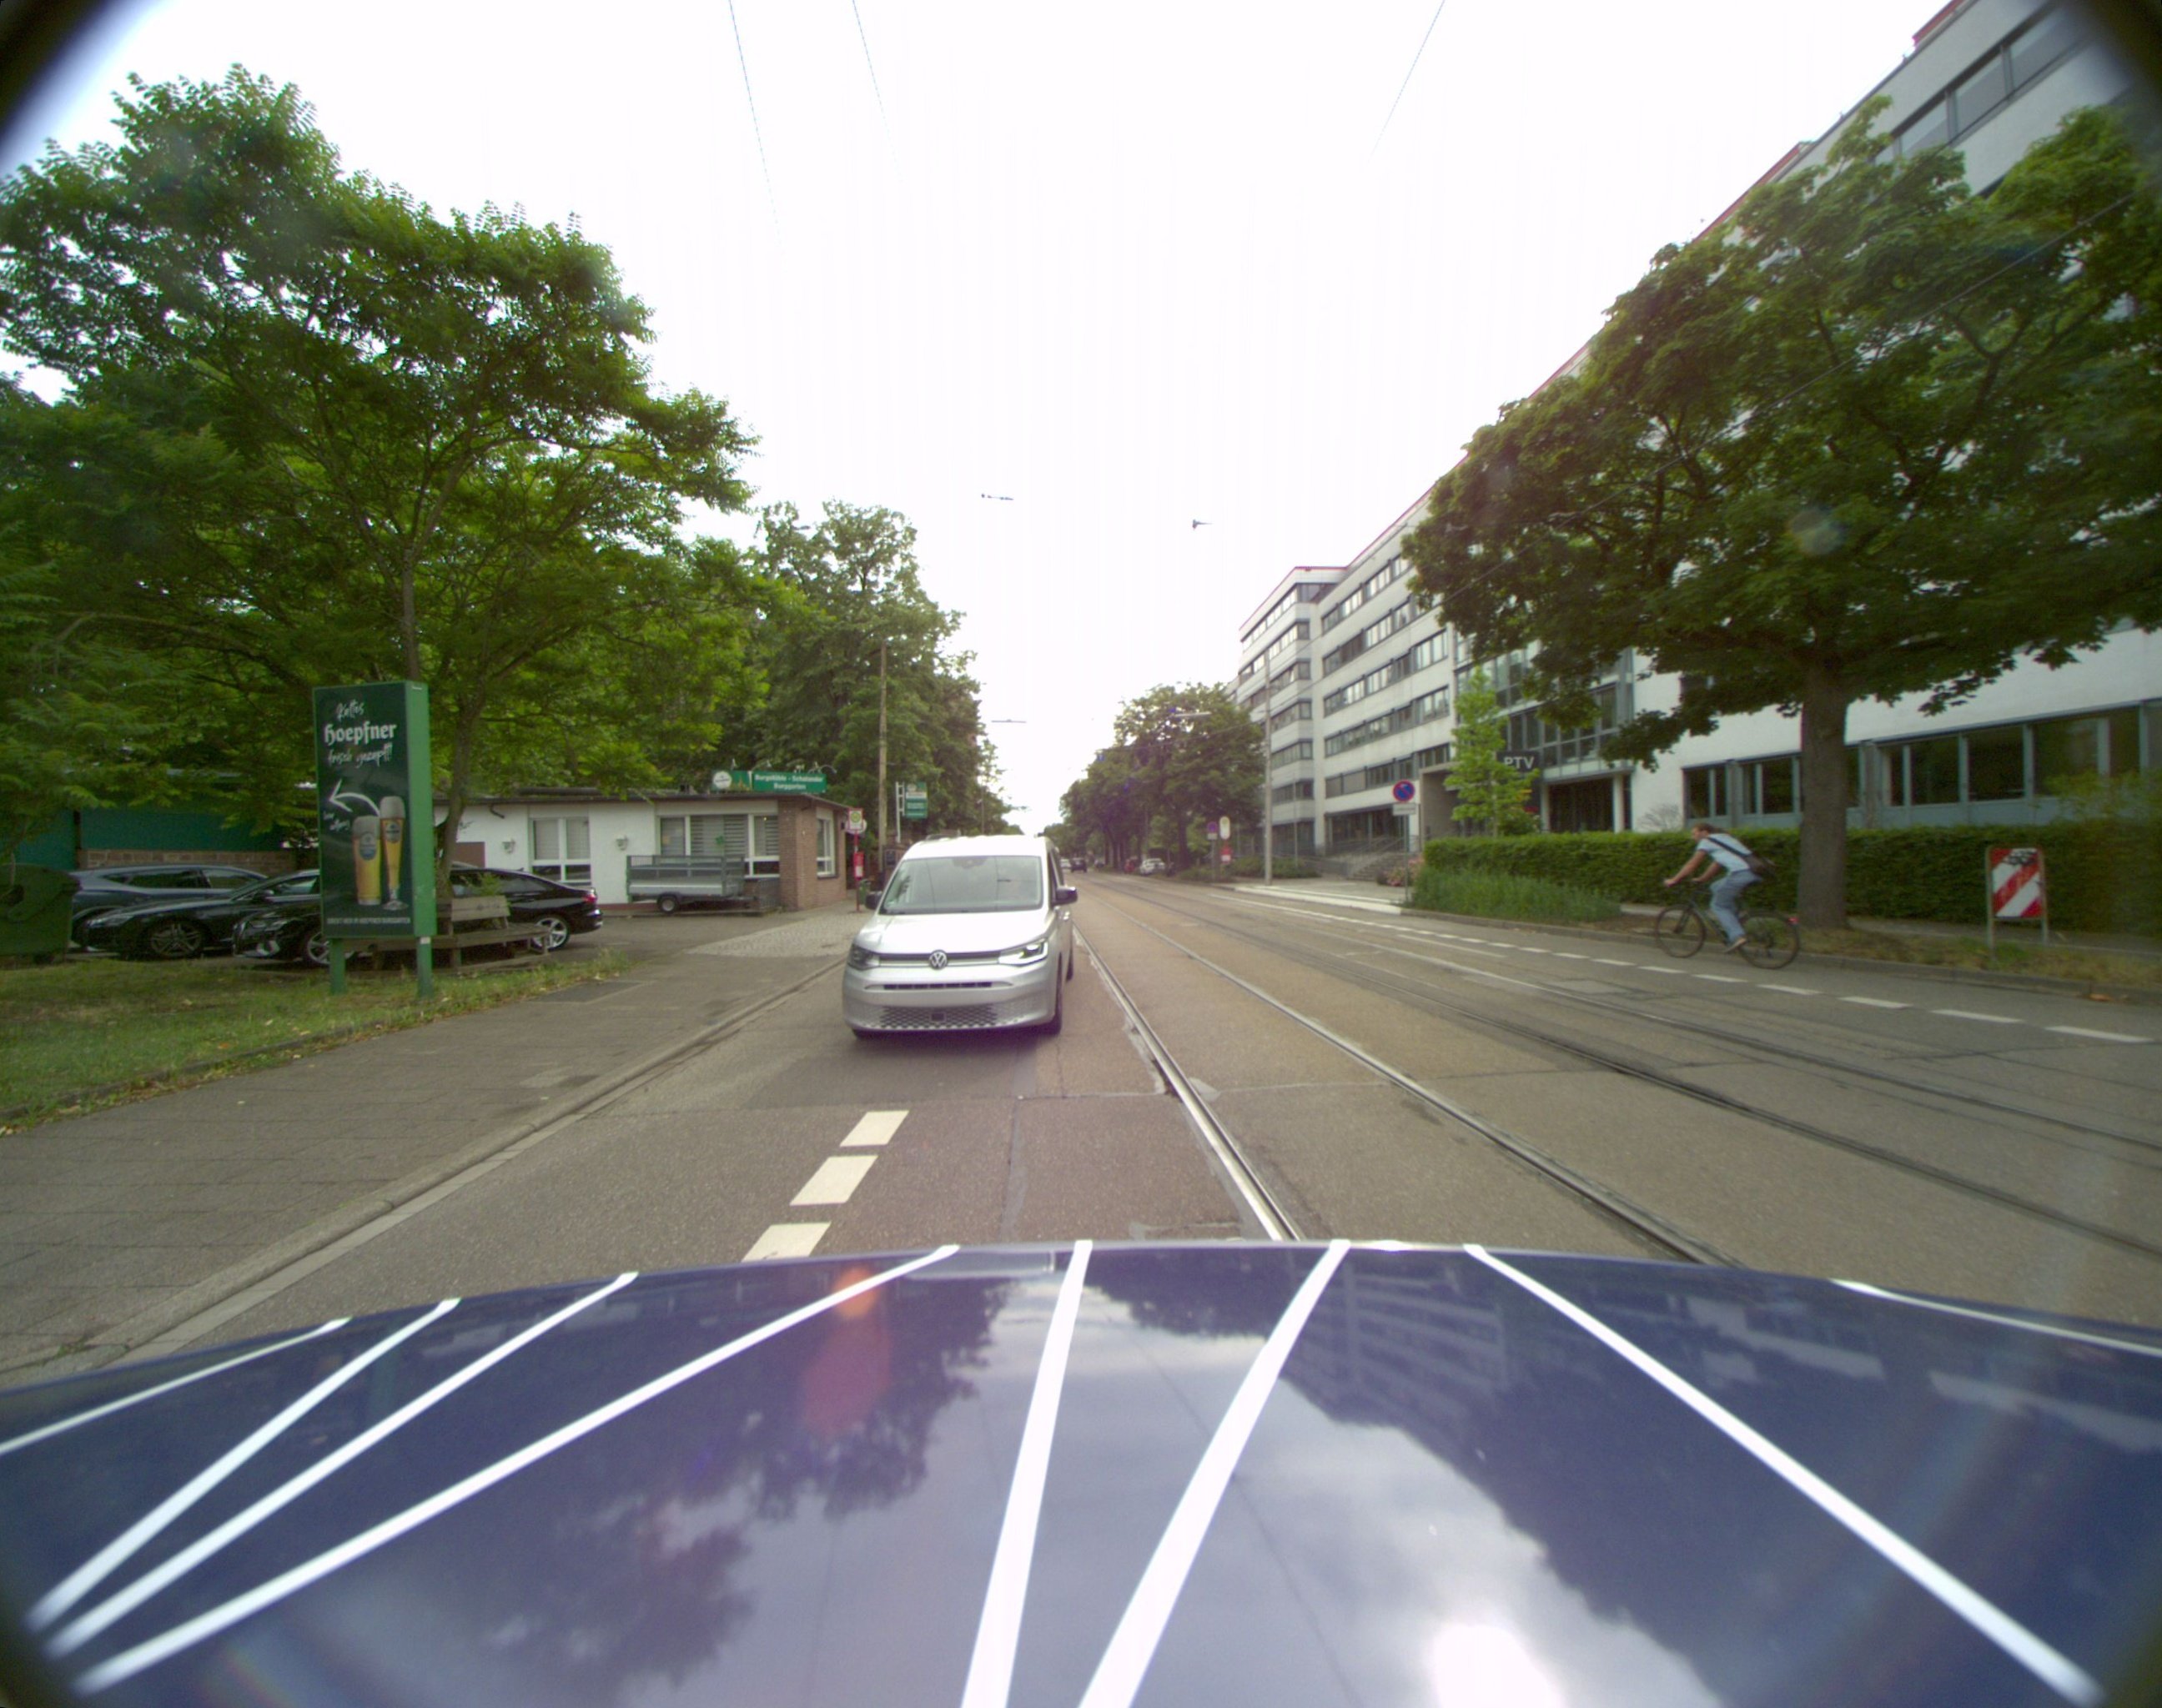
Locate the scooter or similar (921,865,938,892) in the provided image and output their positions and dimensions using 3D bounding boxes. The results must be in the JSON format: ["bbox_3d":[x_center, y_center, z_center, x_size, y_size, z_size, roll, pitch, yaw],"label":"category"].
[{"bbox_3d":[-7.062,1.128,35.459,0.578,1.232,1.409,2,0,-3],"label":"scooter or similar"}]

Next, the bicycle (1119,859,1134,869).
[{"bbox_3d":[5.078,1.098,84.866,1.475,1.085,0.616,-3,1,-16],"label":"bicycle"}]

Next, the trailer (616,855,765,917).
[{"bbox_3d":[-10.521,0.833,20.642,3.170,1.530,1.620,-1,1,-2],"label":"trailer"}]

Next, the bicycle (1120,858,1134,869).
[{"bbox_3d":[5.269,1.077,86.388,1.473,1.134,0.617,-3,1,-5],"label":"bicycle"}]

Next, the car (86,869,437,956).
[{"bbox_3d":[-15.934,1.026,15.040,1.980,1.450,4.501,-1,-1,36],"label":"car"}]

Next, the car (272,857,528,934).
[{"bbox_3d":[-16.416,0.958,18.479,4.434,1.637,1.991,-2,1,2],"label":"car"}]

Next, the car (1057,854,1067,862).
[{"bbox_3d":[-3.678,0.707,148.284,1.752,1.477,4.062,-1,-1,-3],"label":"car"}]

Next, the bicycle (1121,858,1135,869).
[{"bbox_3d":[5.348,1.078,85.887,1.473,1.134,0.617,-1,1,-5],"label":"bicycle"}]

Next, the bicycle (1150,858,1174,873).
[{"bbox_3d":[6.601,0.927,61.904,1.869,1.180,0.632,0,1,1],"label":"bicycle"}]

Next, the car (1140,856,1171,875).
[{"bbox_3d":[6.293,0.938,64.816,1.886,1.485,4.752,-3,0,-3],"label":"car"}]

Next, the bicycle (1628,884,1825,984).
[{"bbox_3d":[8.148,0.959,9.728,0.589,1.067,1.954,0,0,-13],"label":"bicycle"}]

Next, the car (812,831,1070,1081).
[{"bbox_3d":[-1.074,0.759,8.027,1.850,1.796,4.936,-1,0,-1],"label":"car"}]

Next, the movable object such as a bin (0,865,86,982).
[{"bbox_3d":[-14.385,0.918,10.227,1.418,1.504,1.127,-2,-4,38],"label":"movable object such as a bin"}]

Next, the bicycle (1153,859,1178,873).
[{"bbox_3d":[6.750,0.974,60.751,1.812,1.094,0.631,0,1,-10],"label":"bicycle"}]

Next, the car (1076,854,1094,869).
[{"bbox_3d":[0.417,0.856,88.134,1.832,1.727,4.333,-1,1,-3],"label":"car"}]

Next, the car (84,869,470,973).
[{"bbox_3d":[-14.045,1.042,13.604,1.872,1.419,4.552,2,1,39],"label":"car"}]

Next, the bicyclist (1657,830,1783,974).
[{"bbox_3d":[8.143,0.575,9.721,0.738,1.739,0.977,0,0,-13],"label":"bicyclist"}]

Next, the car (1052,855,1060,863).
[{"bbox_3d":[-5.931,1.206,180.497,1.847,1.644,4.388,1,0,-3],"label":"car"}]

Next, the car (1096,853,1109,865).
[{"bbox_3d":[3.245,0.685,115.803,1.815,1.699,3.999,-3,1,0],"label":"car"}]

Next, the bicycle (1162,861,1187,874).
[{"bbox_3d":[7.150,1.031,58.379,1.812,0.894,0.632,0,1,-10],"label":"bicycle"}]

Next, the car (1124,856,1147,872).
[{"bbox_3d":[5.594,0.989,78.030,1.633,1.439,3.755,-4,1,-7],"label":"car"}]

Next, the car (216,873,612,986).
[{"bbox_3d":[-10.533,1.054,12.324,1.929,1.399,4.594,-1,-1,41],"label":"car"}]

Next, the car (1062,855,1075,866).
[{"bbox_3d":[-2.034,1.014,121.310,1.708,1.521,3.740,-2,1,-5],"label":"car"}]

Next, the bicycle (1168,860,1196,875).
[{"bbox_3d":[7.243,0.957,54.529,1.835,1.047,0.741,-2,0,-12],"label":"bicycle"}]

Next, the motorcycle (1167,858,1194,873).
[{"bbox_3d":[7.435,0.843,56.888,1.794,1.044,0.732,-2,1,-10],"label":"motorcycle"}]
